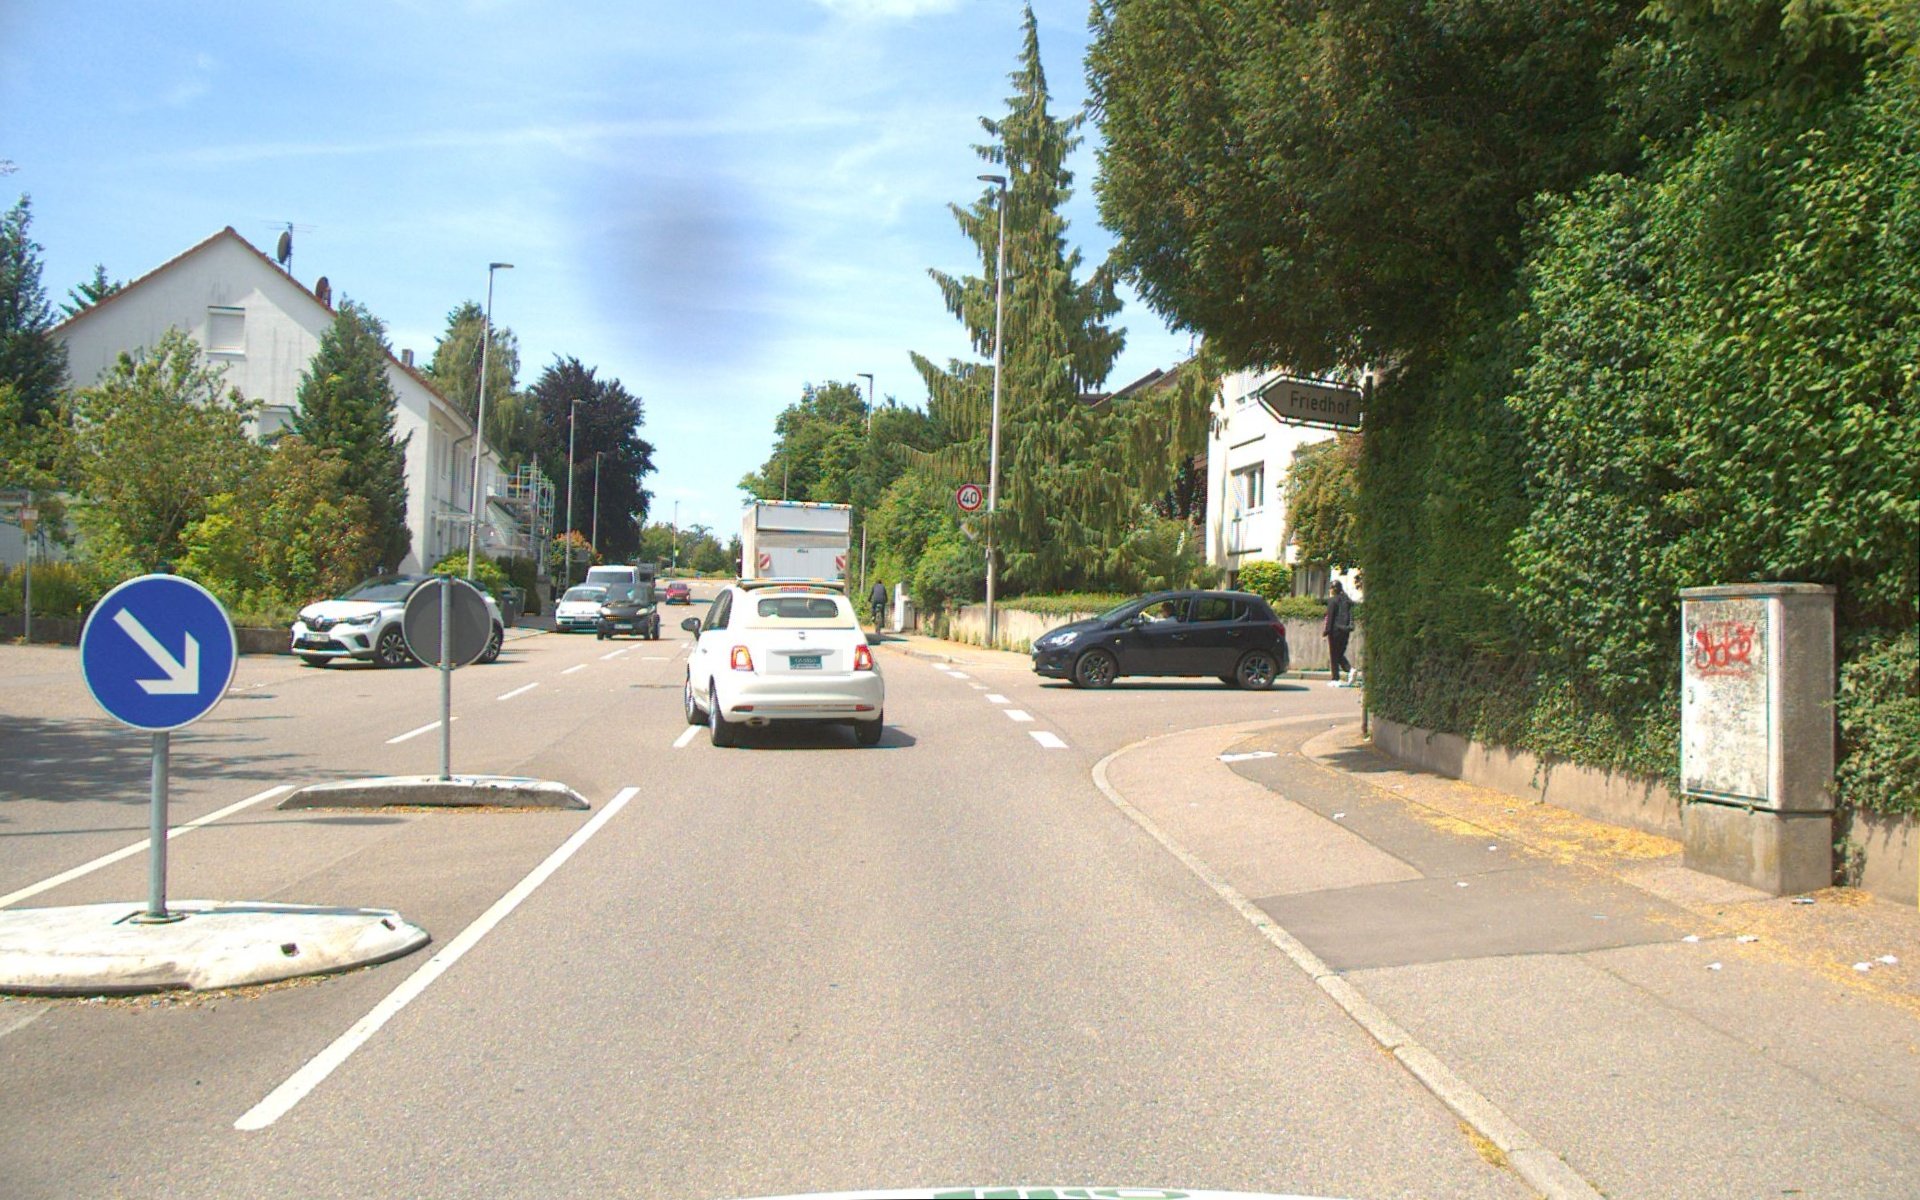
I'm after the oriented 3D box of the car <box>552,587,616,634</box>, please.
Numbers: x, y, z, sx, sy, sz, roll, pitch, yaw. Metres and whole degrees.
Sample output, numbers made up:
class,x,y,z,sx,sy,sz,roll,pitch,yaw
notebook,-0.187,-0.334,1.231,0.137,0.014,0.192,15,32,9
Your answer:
class,x,y,z,sx,sy,sz,roll,pitch,yaw
car,-11.887,0.309,52.493,1.772,1.422,3.990,1,0,-10

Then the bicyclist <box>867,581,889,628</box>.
class,x,y,z,sx,sy,sz,roll,pitch,yaw
bicyclist,-2.560,0.128,51.647,0.577,1.437,0.740,2,0,-8

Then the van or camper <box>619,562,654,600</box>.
class,x,y,z,sx,sy,sz,roll,pitch,yaw
van or camper,-26.970,-1.606,137.994,2.222,3.014,5.880,2,0,-6

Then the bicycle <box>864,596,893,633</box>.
class,x,y,z,sx,sy,sz,roll,pitch,yaw
bicycle,-2.568,0.436,52.027,0.655,1.123,2.420,2,0,-9

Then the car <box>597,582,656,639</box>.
class,x,y,z,sx,sy,sz,roll,pitch,yaw
car,-9.285,0.272,46.182,1.452,1.536,2.796,0,0,-8

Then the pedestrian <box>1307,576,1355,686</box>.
class,x,y,z,sx,sy,sz,roll,pitch,yaw
pedestrian,5.882,0.484,26.199,0.681,1.700,0.570,2,1,15

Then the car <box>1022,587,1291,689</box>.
class,x,y,z,sx,sy,sz,roll,pitch,yaw
car,2.967,0.562,25.460,3.856,1.483,1.657,1,0,-5

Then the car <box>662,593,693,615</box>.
class,x,y,z,sx,sy,sz,roll,pitch,yaw
car,-21.057,0.270,123.352,1.797,1.561,3.997,2,0,-4

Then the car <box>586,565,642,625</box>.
class,x,y,z,sx,sy,sz,roll,pitch,yaw
car,-13.695,-0.195,65.707,2.000,2.238,5.569,1,0,-10

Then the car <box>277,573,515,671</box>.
class,x,y,z,sx,sy,sz,roll,pitch,yaw
car,-9.767,0.352,28.981,1.746,1.556,4.172,1,0,19

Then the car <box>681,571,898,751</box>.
class,x,y,z,sx,sy,sz,roll,pitch,yaw
car,-1.840,0.520,16.792,1.695,1.587,3.986,0,1,-13

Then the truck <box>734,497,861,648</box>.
class,x,y,z,sx,sy,sz,roll,pitch,yaw
truck,-4.699,-0.712,46.422,3.012,3.840,7.850,1,0,-9
